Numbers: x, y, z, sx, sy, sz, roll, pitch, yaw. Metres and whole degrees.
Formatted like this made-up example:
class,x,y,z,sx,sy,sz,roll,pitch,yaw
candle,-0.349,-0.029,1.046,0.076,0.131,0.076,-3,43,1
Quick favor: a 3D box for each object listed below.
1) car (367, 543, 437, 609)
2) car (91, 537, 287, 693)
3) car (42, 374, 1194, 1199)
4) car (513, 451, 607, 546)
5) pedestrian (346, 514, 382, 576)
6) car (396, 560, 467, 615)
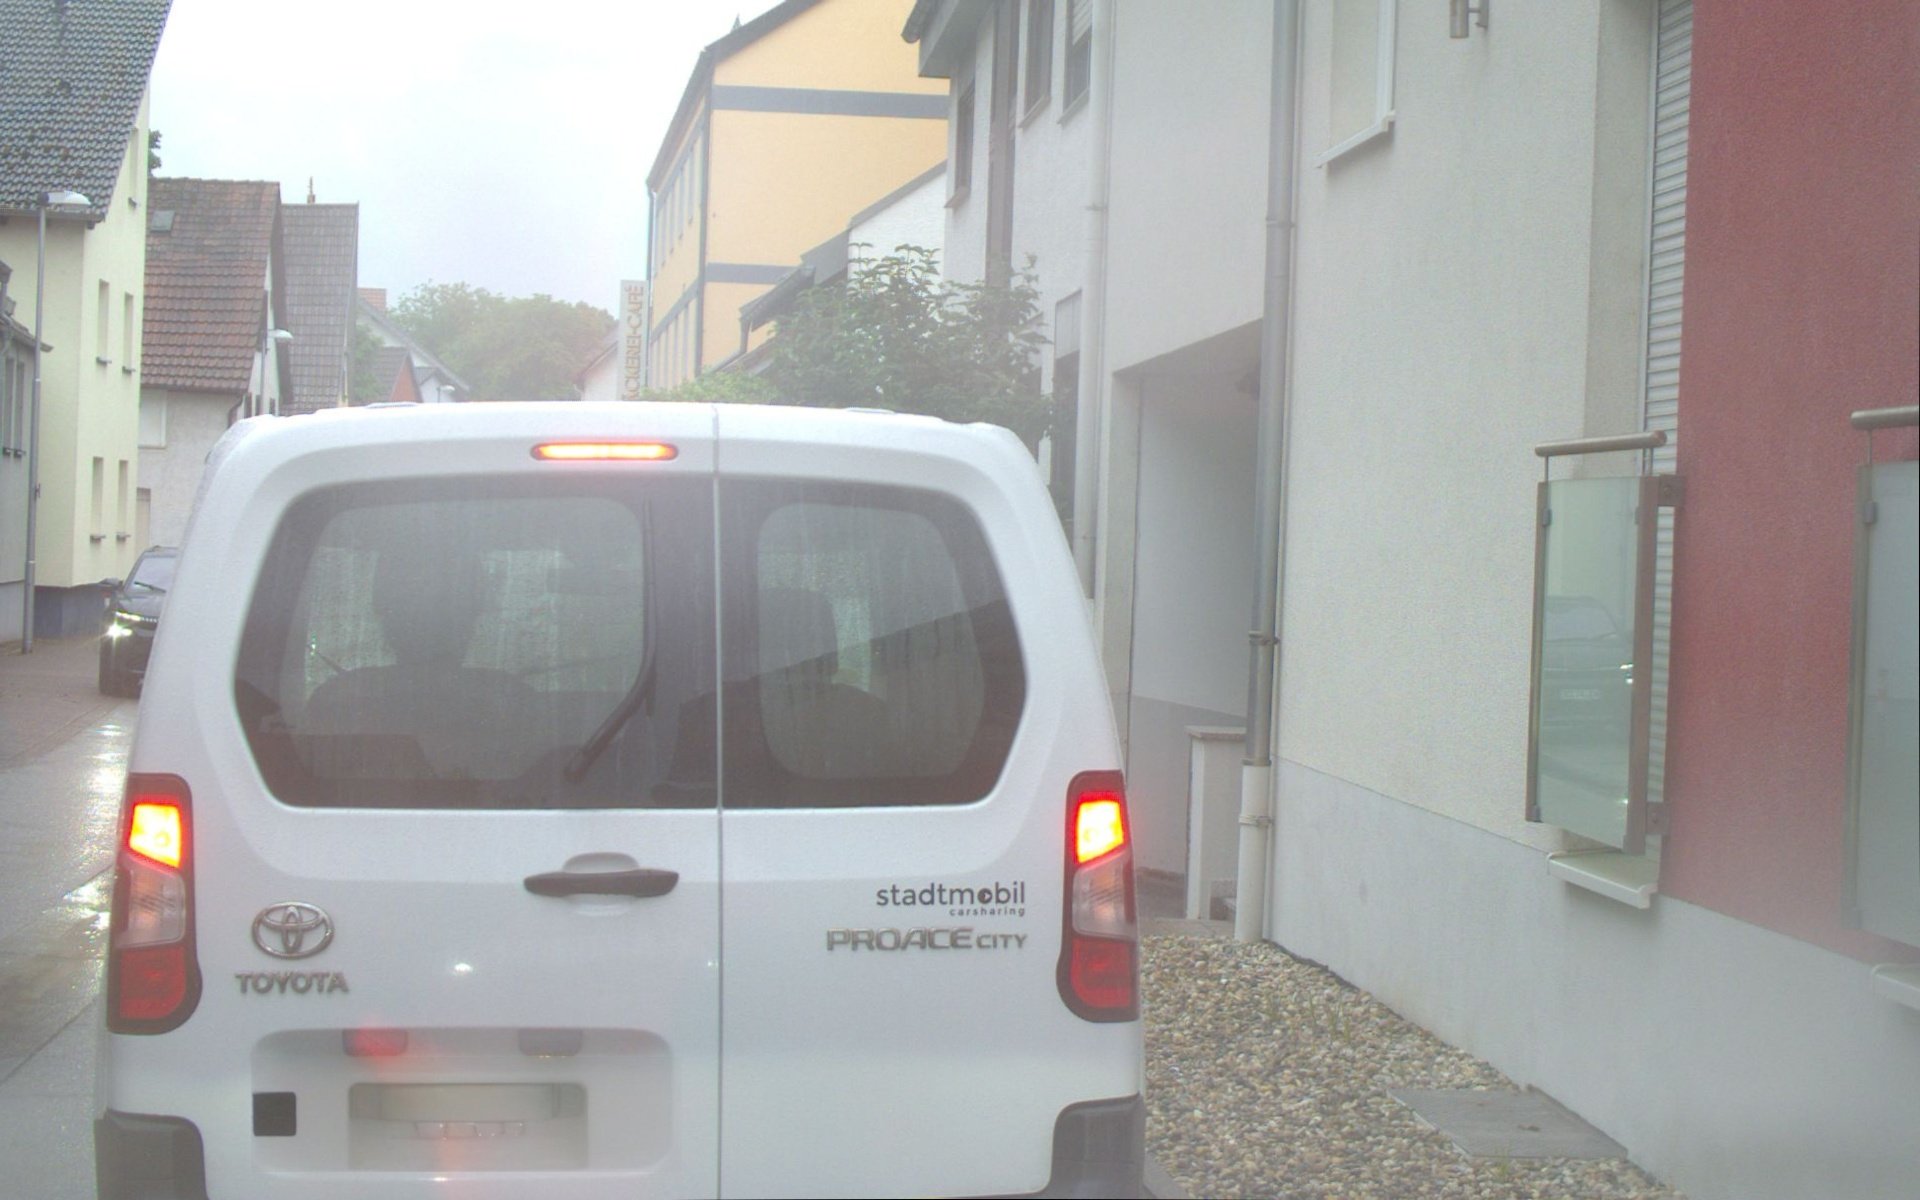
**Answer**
class,x,y,z,sx,sy,sz,roll,pitch,yaw
car,-13.053,-0.566,80.373,1.560,1.472,4.001,1,1,-10
car,-8.398,0.128,37.726,1.832,1.550,4.241,2,0,-10
car,-0.825,0.532,7.341,1.774,1.774,4.001,1,1,-9
car,-8.849,-2.217,76.296,1.993,2.007,4.001,1,1,-6
pedestrian,-18.157,-1.668,104.698,1.050,1.886,0.877,1,0,-9
car,-14.063,-0.346,91.358,1.779,1.390,4.001,1,1,-10
